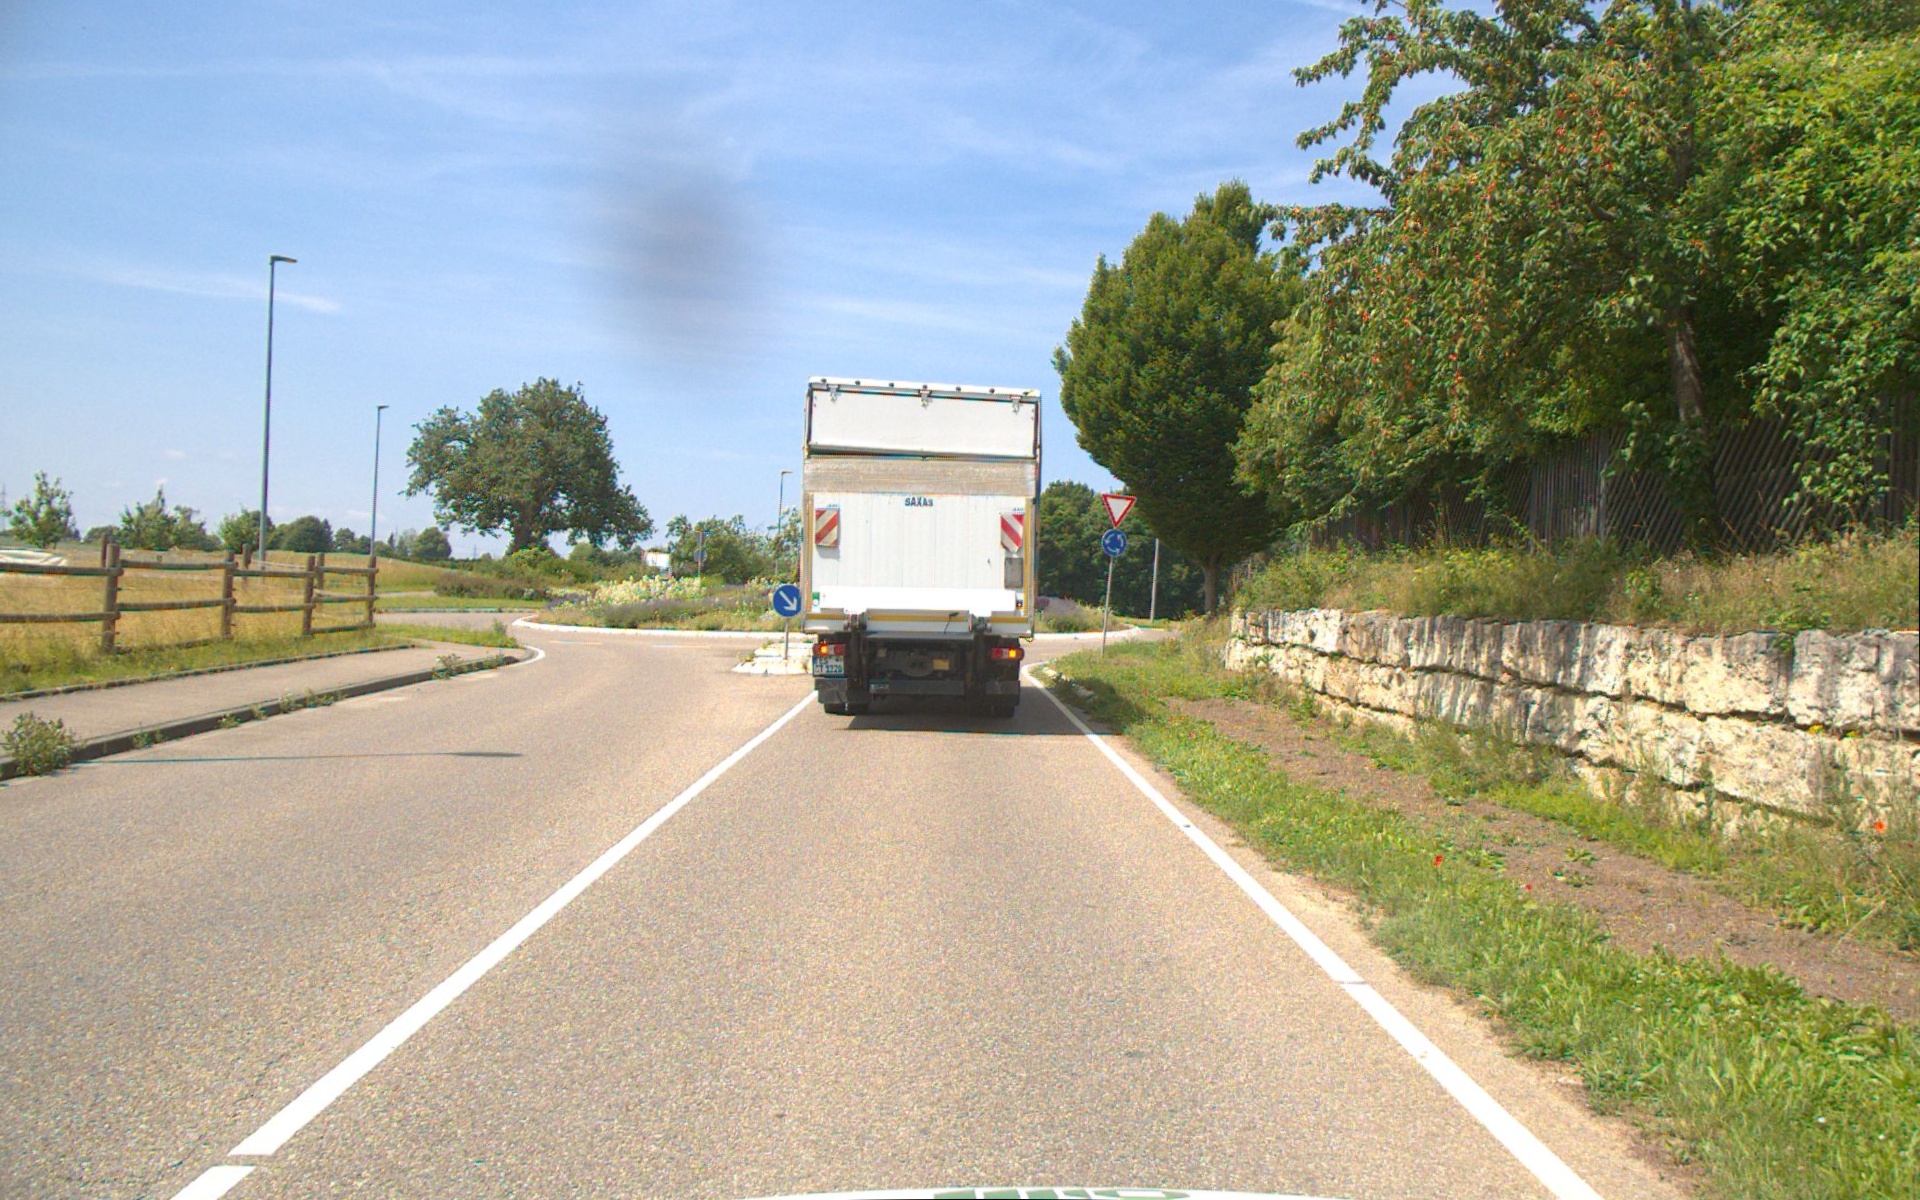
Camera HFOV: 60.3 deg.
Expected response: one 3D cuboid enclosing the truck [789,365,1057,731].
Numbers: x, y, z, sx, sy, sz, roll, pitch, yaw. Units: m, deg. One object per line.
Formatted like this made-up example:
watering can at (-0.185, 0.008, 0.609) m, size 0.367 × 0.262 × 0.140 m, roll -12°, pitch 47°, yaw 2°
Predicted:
truck at (-0.546, -0.539, 21.813) m, size 2.711 × 3.735 × 9.378 m, roll 1°, pitch 0°, yaw -2°
